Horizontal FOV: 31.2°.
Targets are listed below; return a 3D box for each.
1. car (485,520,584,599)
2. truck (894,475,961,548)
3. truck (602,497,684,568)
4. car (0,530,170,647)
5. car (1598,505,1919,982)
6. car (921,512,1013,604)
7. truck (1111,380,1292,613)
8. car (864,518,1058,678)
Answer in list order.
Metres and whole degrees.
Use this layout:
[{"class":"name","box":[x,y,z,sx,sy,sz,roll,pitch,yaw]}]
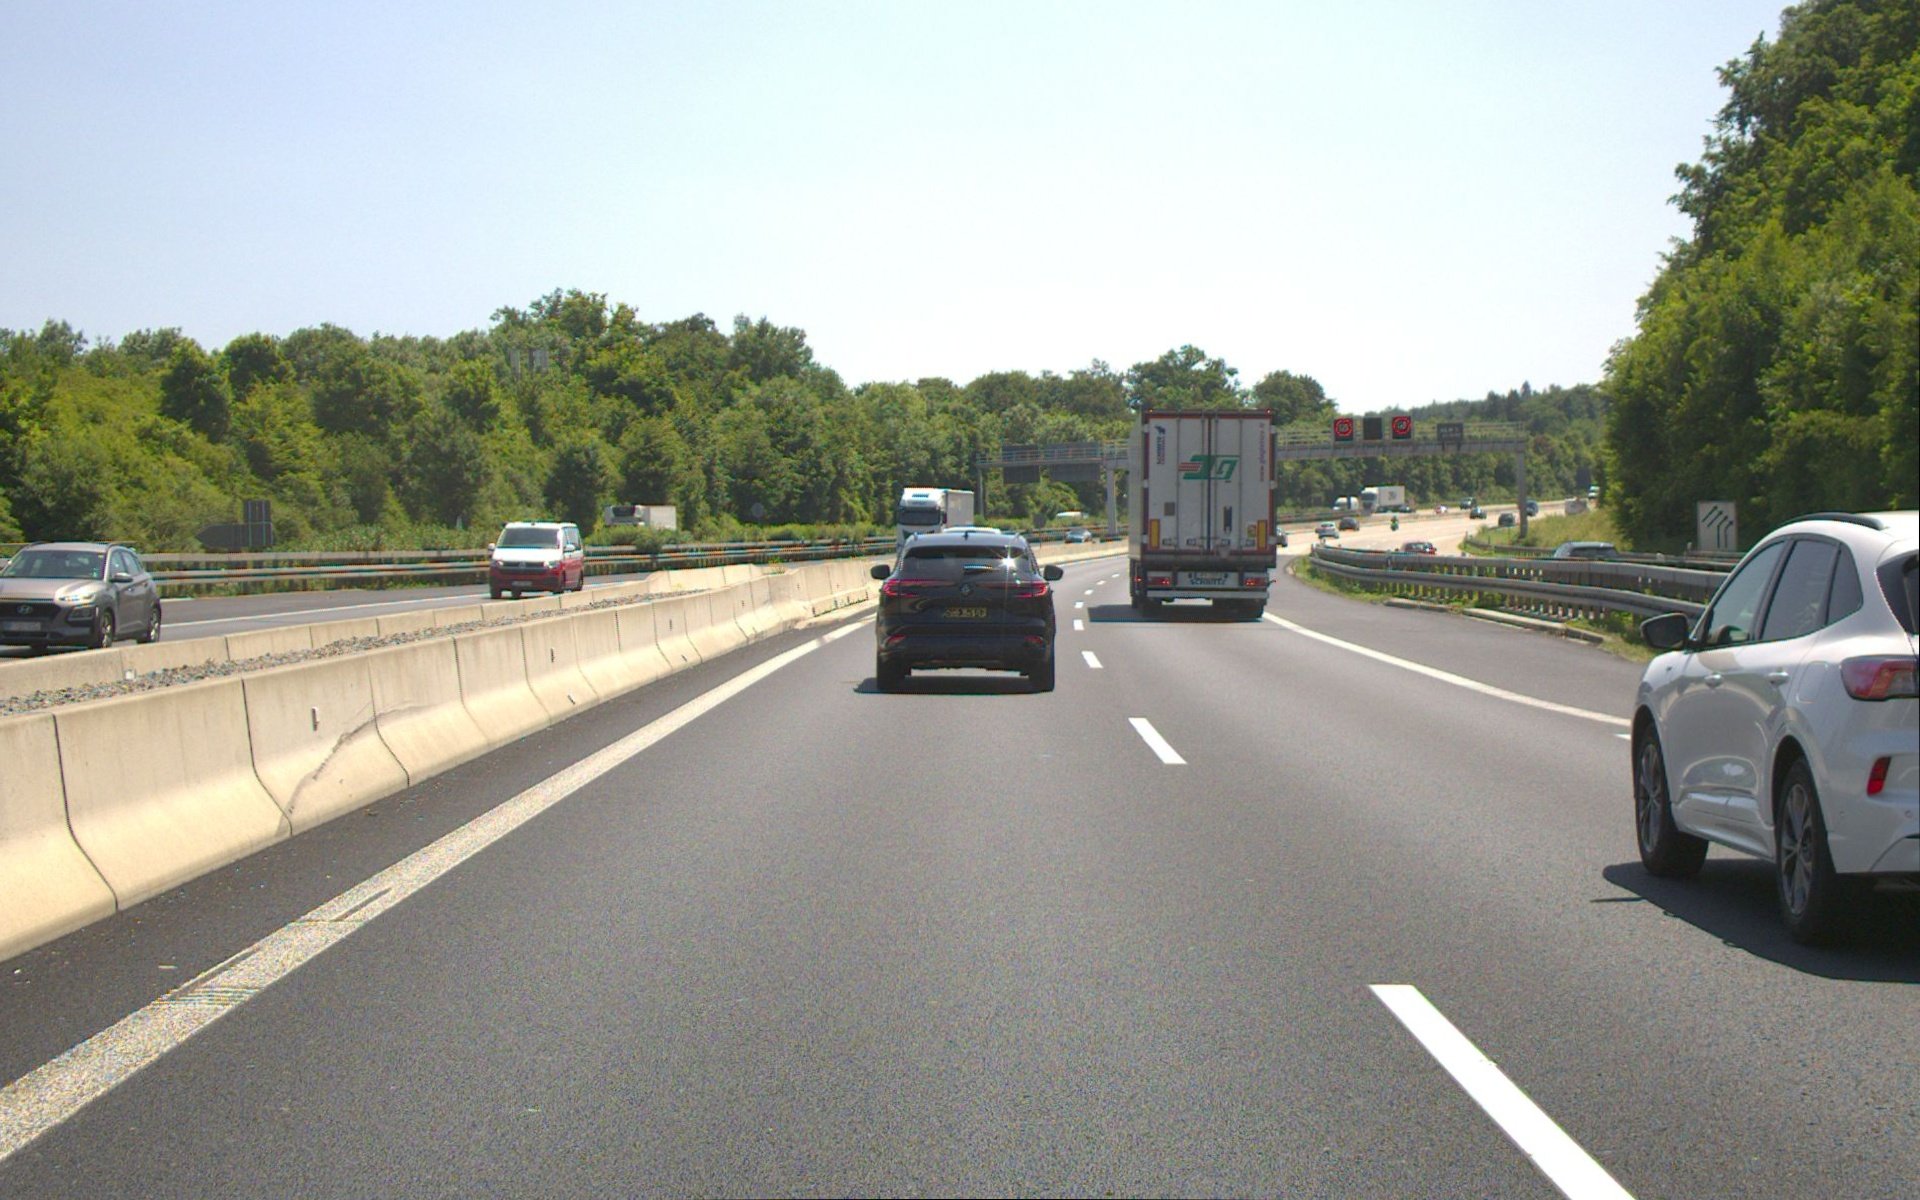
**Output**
[{"class":"car","box":[-11.104,-1.047,90.098,1.993,2.007,5.380,0,0,-1]},{"class":"truck","box":[-1.816,-5.030,197.488,2.698,3.946,10.775,0,0,6]},{"class":"truck","box":[-18.280,-3.855,198.714,2.698,3.946,10.775,0,0,6]},{"class":"car","box":[-12.317,-0.191,47.631,1.728,1.527,4.261,1,1,0]},{"class":"car","box":[4.046,0.483,14.185,1.993,1.656,4.468,0,0,0]},{"class":"car","box":[0.192,-1.013,80.975,1.993,2.007,4.000,-3,1,1]},{"class":"truck","box":[4.838,-2.008,71.110,3.032,4.403,12.018,0,0,1]},{"class":"car","box":[-0.045,-0.039,35.817,1.779,1.572,4.001,0,0,-4]}]
